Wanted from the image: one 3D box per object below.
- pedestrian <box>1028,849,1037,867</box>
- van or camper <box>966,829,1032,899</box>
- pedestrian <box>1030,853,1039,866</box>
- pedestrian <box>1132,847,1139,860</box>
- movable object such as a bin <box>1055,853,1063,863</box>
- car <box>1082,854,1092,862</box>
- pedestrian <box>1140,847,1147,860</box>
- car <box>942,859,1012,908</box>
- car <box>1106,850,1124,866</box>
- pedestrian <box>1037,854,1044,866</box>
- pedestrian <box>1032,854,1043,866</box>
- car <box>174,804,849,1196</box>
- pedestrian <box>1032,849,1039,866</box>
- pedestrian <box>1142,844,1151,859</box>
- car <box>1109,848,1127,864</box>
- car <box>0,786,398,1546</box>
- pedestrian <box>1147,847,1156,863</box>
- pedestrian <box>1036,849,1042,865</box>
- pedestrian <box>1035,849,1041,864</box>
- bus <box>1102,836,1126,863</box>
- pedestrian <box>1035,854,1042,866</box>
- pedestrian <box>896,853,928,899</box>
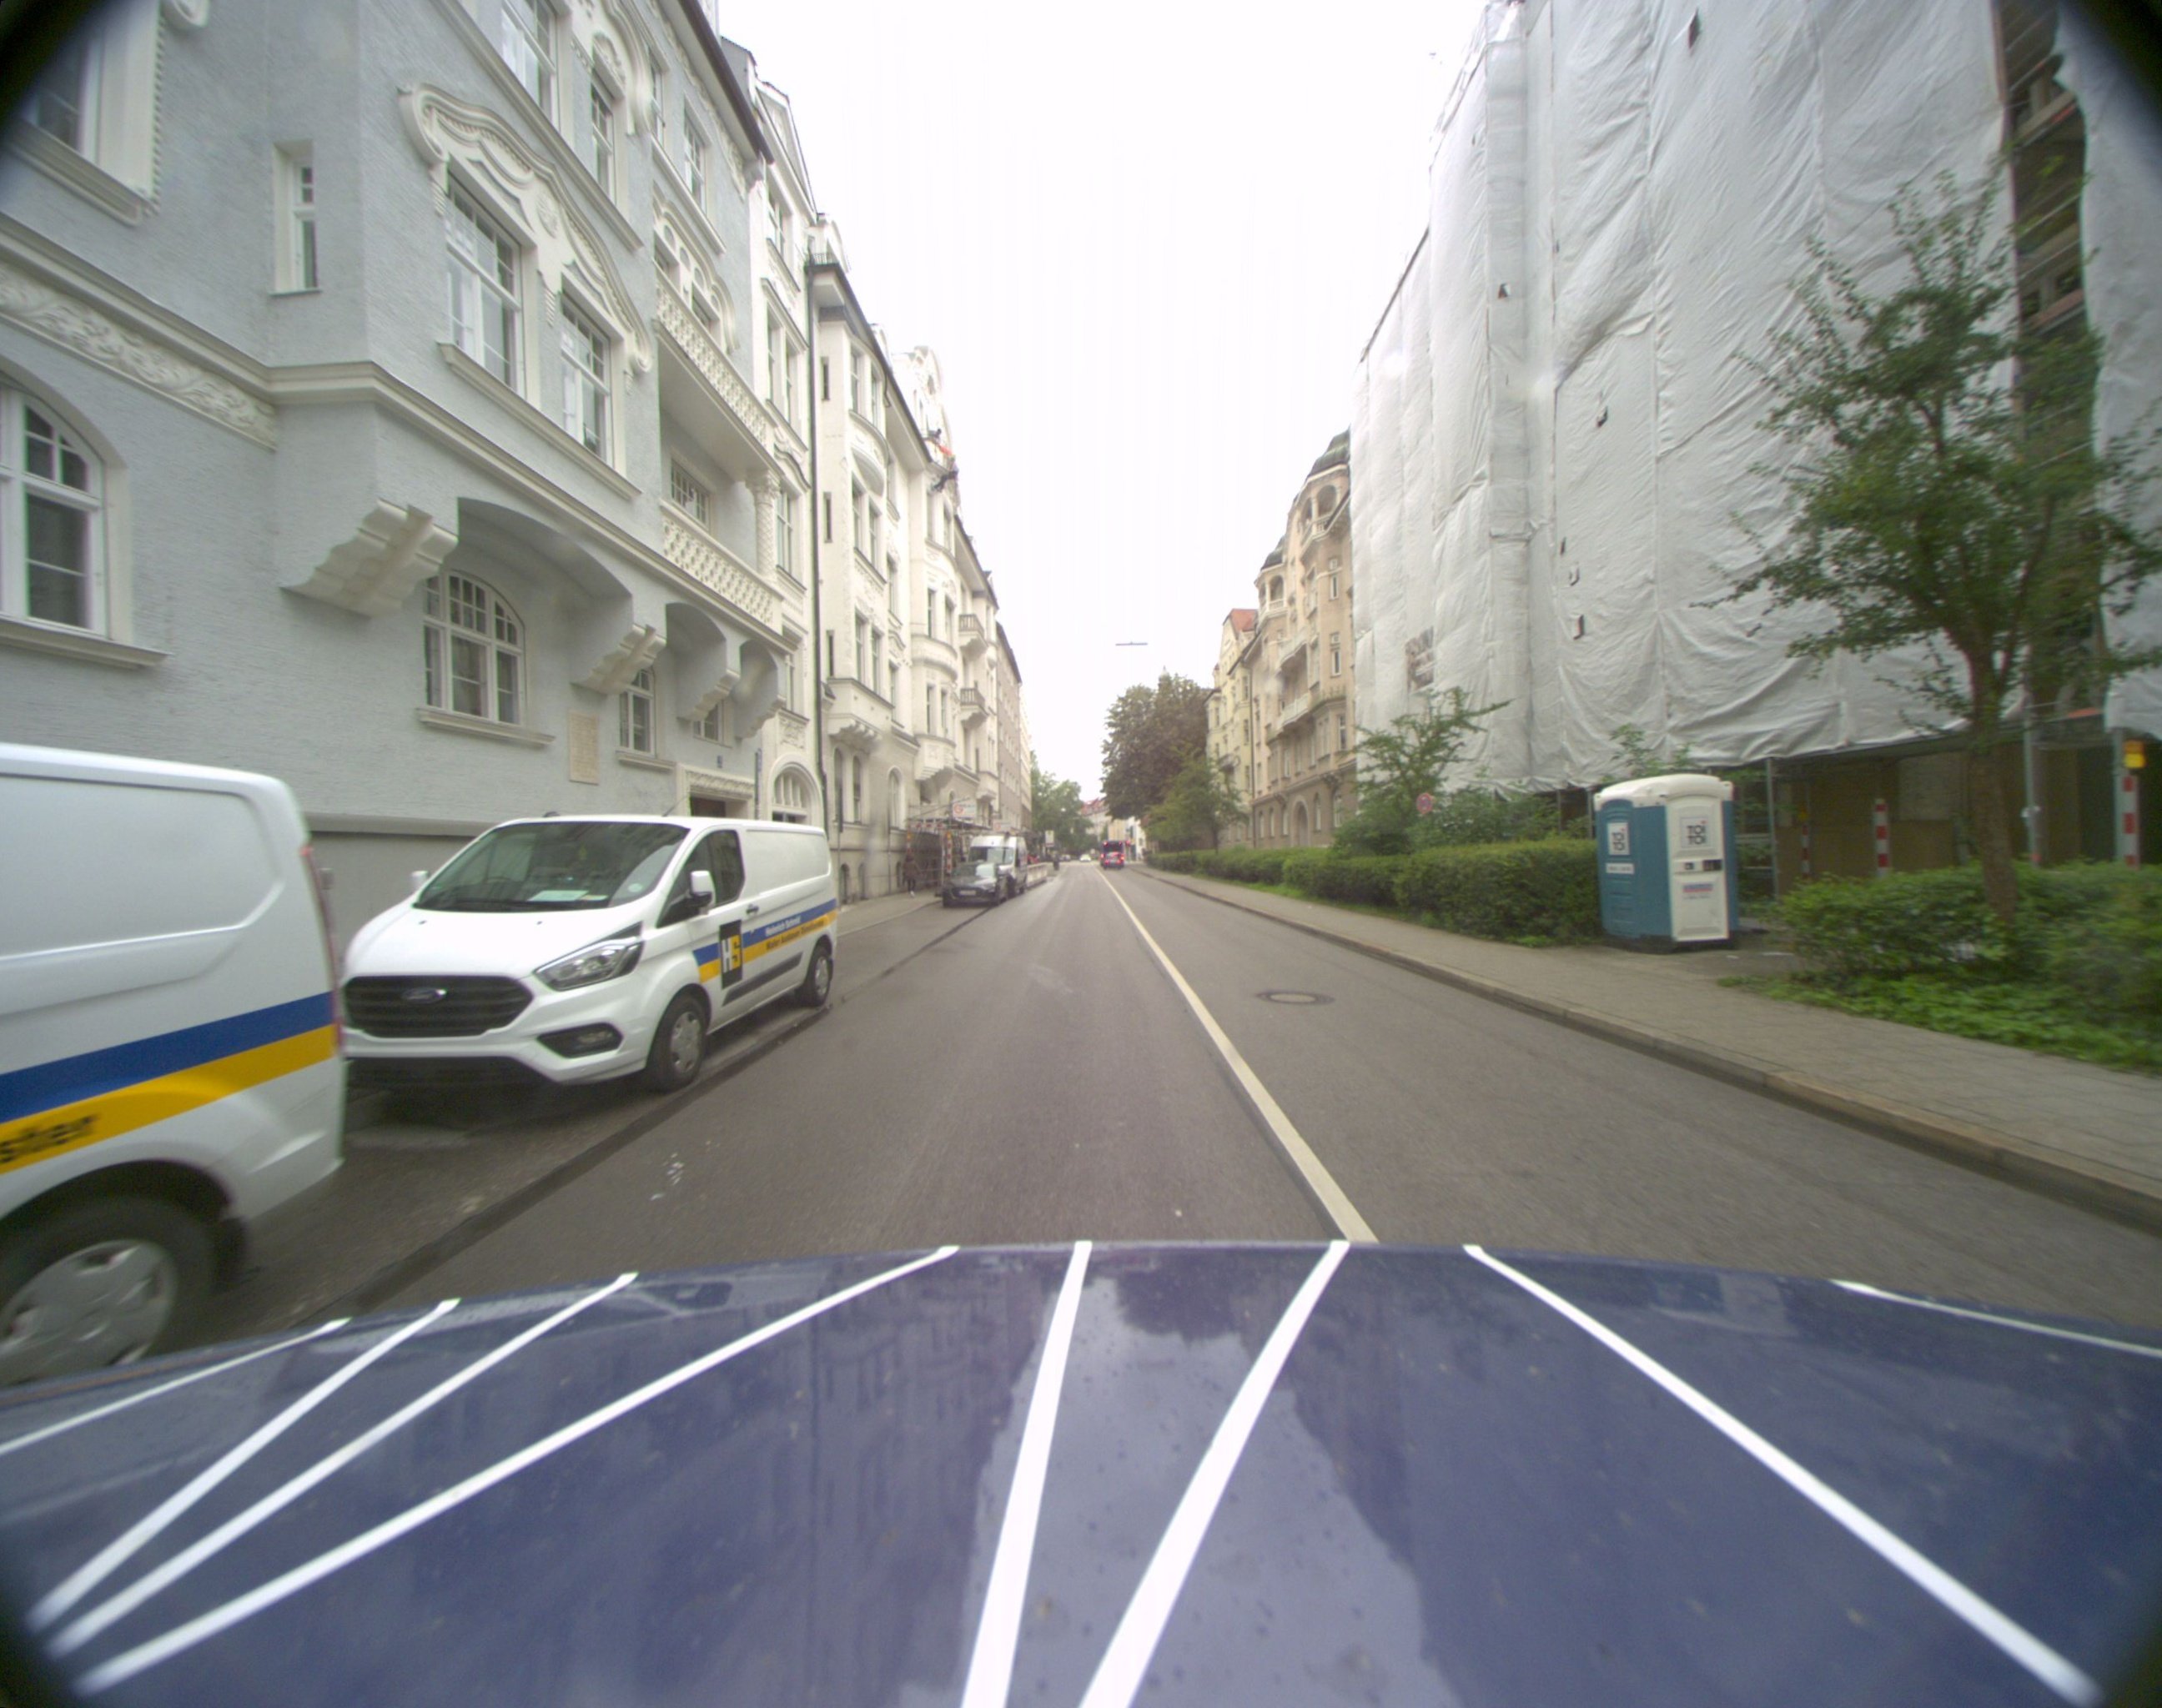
[{"bbox_3d":[-4.701,0.378,73.792,0.704,1.723,0.746,-1,1,1],"label":"pedestrian"},{"bbox_3d":[-3.273,0.350,31.429,1.958,2.621,5.458,-1,1,1],"label":"van or camper"},{"bbox_3d":[-4.668,0.555,76.474,0.862,1.344,0.862,-1,1,1],"label":"pedestrian"},{"bbox_3d":[8.304,-0.068,115.836,0.952,2.002,1.397,-1,1,10],"label":"pedestrian"},{"bbox_3d":[-2.727,0.519,92.830,0.877,1.243,0.798,-1,1,-5],"label":"movable object such as a bin"},{"bbox_3d":[1.240,0.804,152.649,1.927,1.608,3.999,-2,1,0],"label":"car"},{"bbox_3d":[9.569,-0.126,115.968,0.952,2.002,1.397,-1,1,10],"label":"pedestrian"},{"bbox_3d":[-3.391,0.937,25.479,1.758,1.426,4.086,-1,0,0],"label":"car"},{"bbox_3d":[3.272,0.357,74.332,1.588,1.471,3.782,-1,0,0],"label":"car"},{"bbox_3d":[-4.251,0.597,79.208,0.709,1.230,0.585,-1,1,1],"label":"pedestrian"},{"bbox_3d":[-4.453,0.586,78.169,1.099,1.230,0.668,-1,1,1],"label":"pedestrian"},{"bbox_3d":[-3.702,0.746,6.441,1.964,2.002,4.992,-1,0,-1],"label":"car"},{"bbox_3d":[-4.767,0.343,80.283,0.659,1.723,0.684,-1,1,1],"label":"pedestrian"},{"bbox_3d":[8.838,-0.306,102.255,0.832,2.002,0.778,-3,1,-42],"label":"pedestrian"},{"bbox_3d":[3.895,0.224,80.928,1.772,1.635,4.273,-1,0,0],"label":"car"},{"bbox_3d":[-3.716,0.812,0.531,1.964,1.926,4.992,-1,0,-1],"label":"car"},{"bbox_3d":[7.839,0.064,84.087,0.910,1.735,0.847,-1,1,0],"label":"pedestrian"},{"bbox_3d":[-4.622,0.336,83.588,0.659,1.723,0.696,-1,1,1],"label":"pedestrian"},{"bbox_3d":[-4.923,0.288,87.440,0.659,1.773,0.771,-1,1,1],"label":"pedestrian"},{"bbox_3d":[3.877,-0.509,90.941,2.586,3.083,8.923,-1,0,1],"label":"bus"},{"bbox_3d":[-4.502,0.586,79.714,0.681,1.230,0.495,-1,1,1],"label":"pedestrian"},{"bbox_3d":[-5.960,0.759,26.837,0.923,1.546,1.016,1,2,0],"label":"pedestrian"}]
